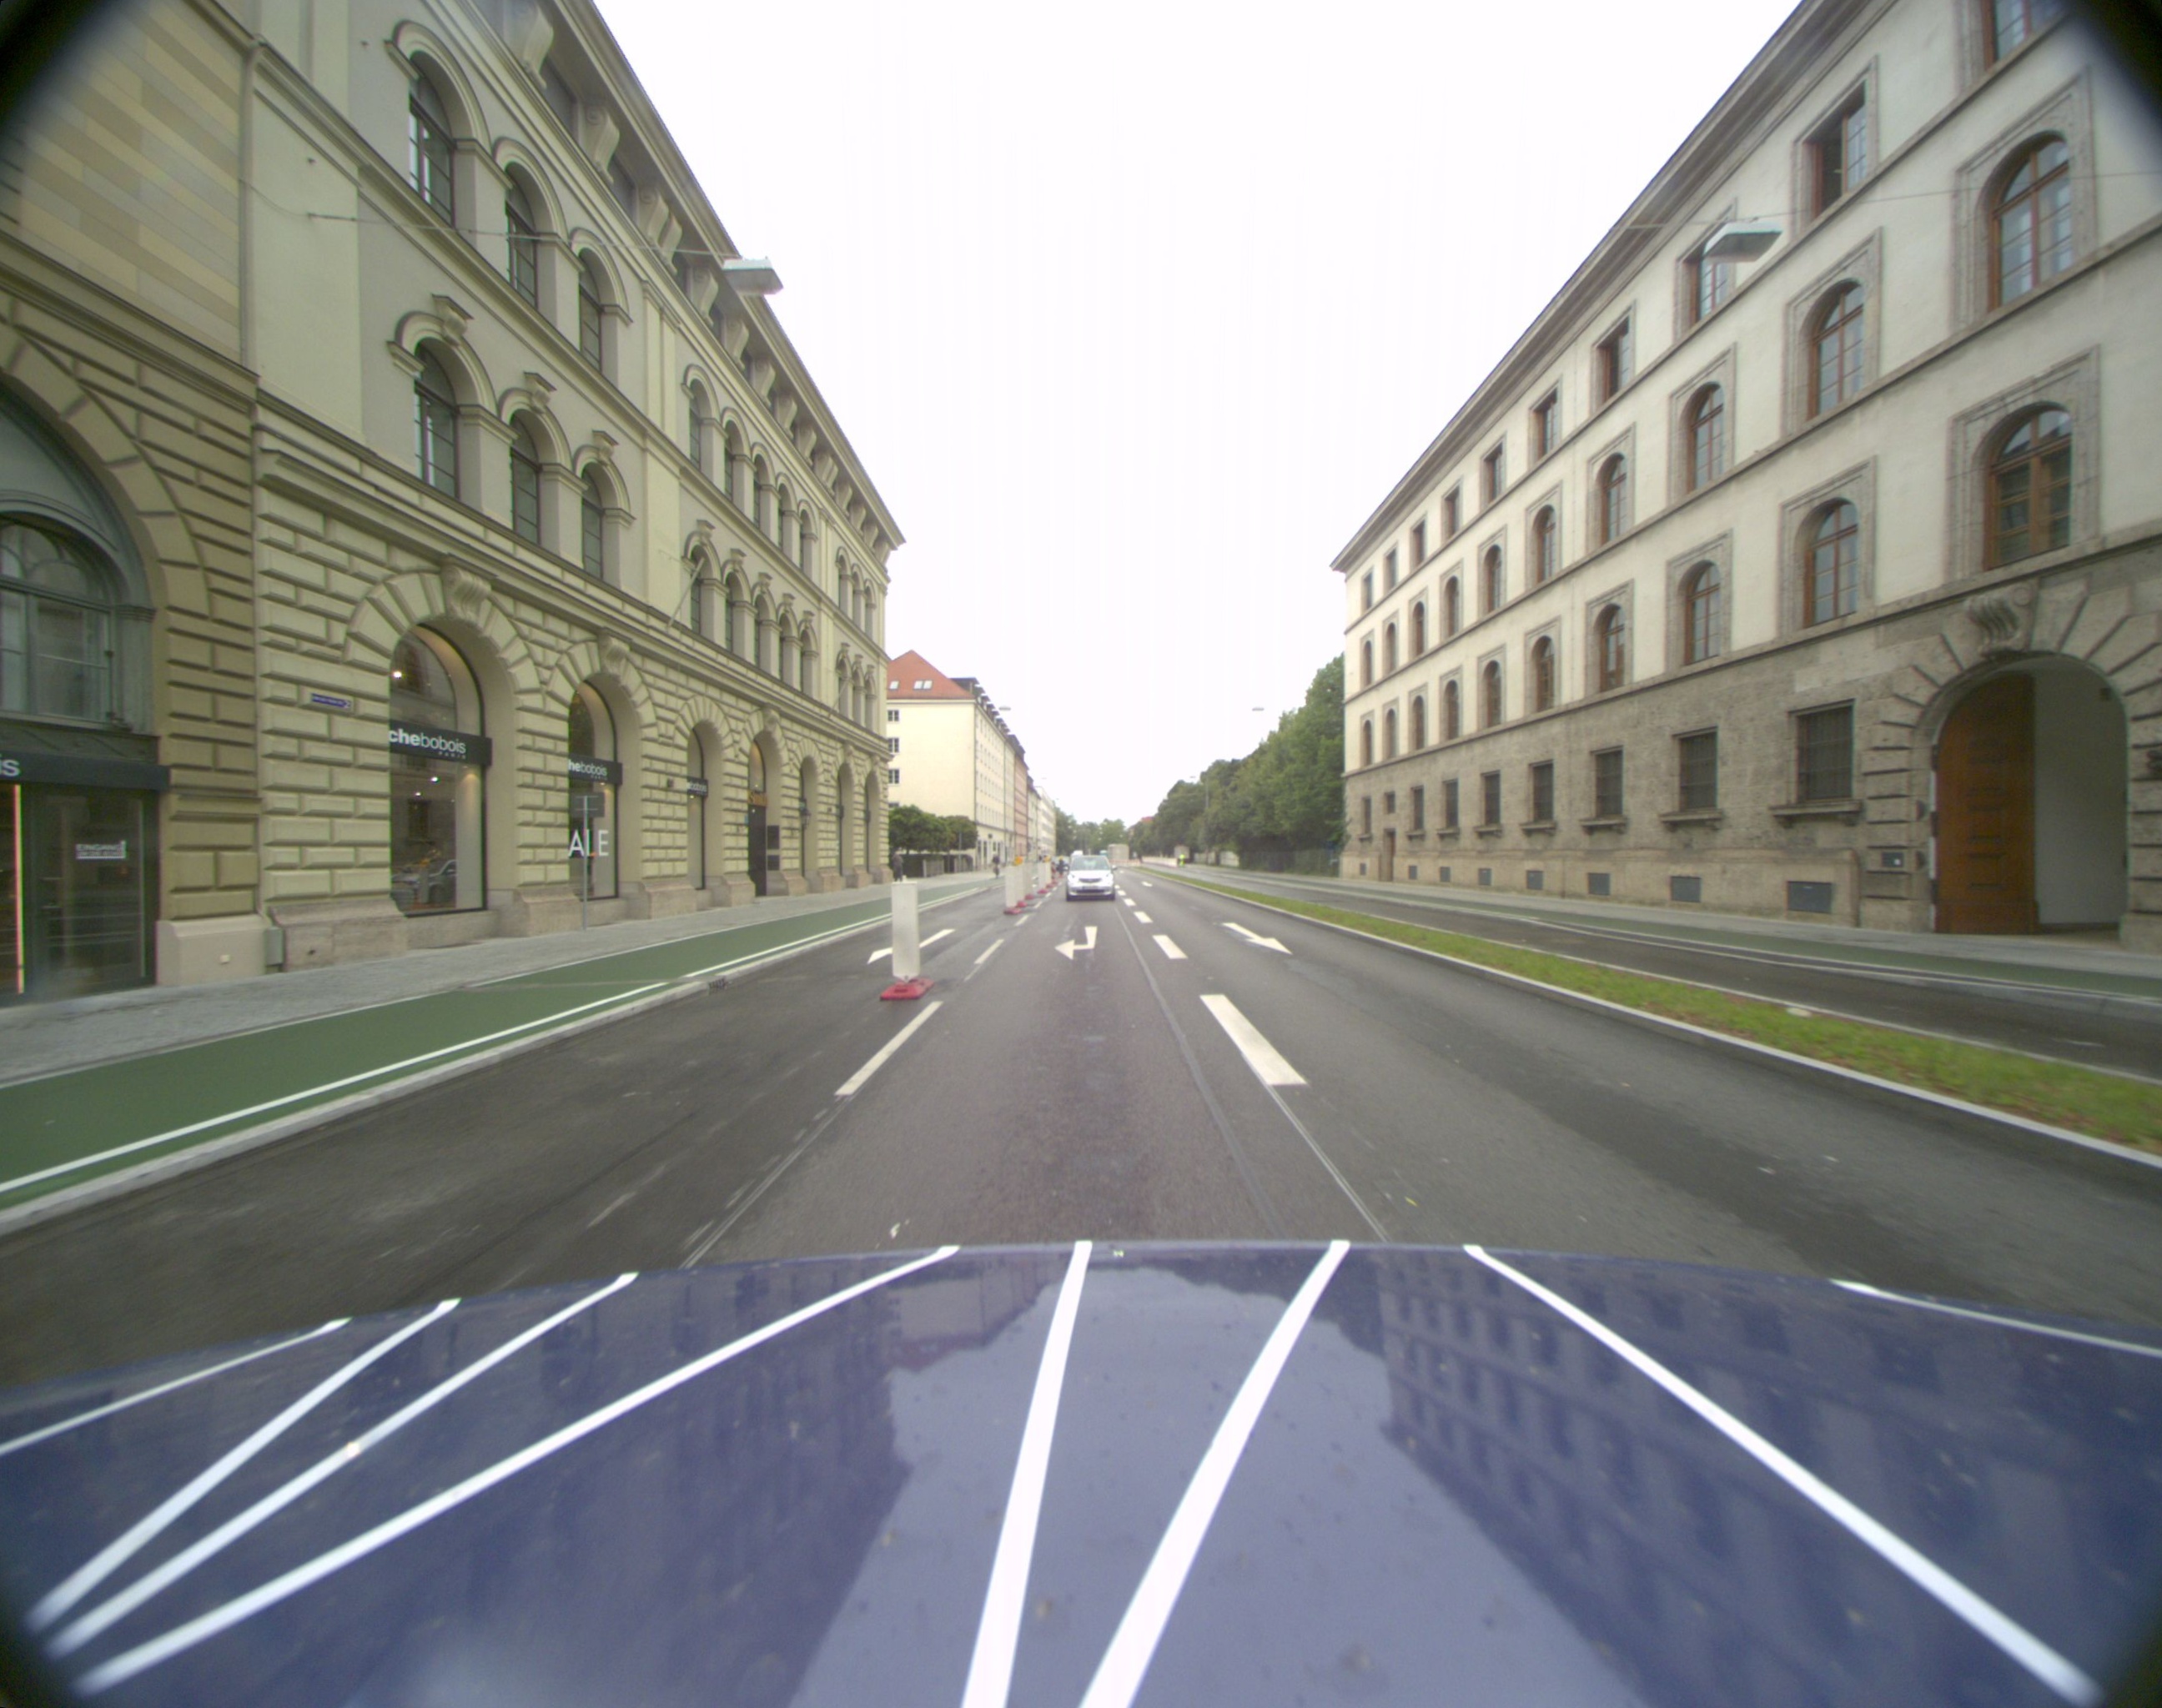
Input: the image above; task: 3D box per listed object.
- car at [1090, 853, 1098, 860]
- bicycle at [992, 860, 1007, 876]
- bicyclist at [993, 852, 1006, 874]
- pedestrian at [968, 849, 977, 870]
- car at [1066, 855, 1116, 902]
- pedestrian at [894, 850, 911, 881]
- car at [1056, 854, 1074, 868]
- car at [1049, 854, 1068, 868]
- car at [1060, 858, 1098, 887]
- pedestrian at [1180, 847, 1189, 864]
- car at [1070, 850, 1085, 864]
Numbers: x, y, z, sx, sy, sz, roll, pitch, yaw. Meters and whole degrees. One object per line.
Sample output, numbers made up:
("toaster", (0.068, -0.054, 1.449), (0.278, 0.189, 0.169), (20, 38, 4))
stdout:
("car", (2.904, 0.540, 168.900), (1.739, 1.425, 4.000), (-1, 0, 1))
("bicycle", (-5.732, 0.989, 53.665), (0.751, 1.026, 2.531), (-1, 0, 1))
("bicyclist", (-5.741, 0.642, 53.547), (0.724, 1.543, 0.858), (-1, 1, 0))
("pedestrian", (-9.399, 0.479, 65.727), (0.655, 1.863, 0.826), (1, 1, 1))
("car", (0.366, 0.824, 27.219), (1.633, 1.494, 4.000), (-1, 0, 1))
("pedestrian", (-10.000, 0.619, 42.472), (0.635, 1.694, 1.083), (0, 1, -30))
("car", (-1.724, 0.711, 82.948), (1.739, 1.425, 4.000), (-1, 0, 1))
("car", (-2.287, 0.691, 77.618), (1.739, 1.313, 4.000), (-1, 0, 1))
("car", (-0.092, 0.978, 42.083), (1.922, 1.433, 4.306), (-2, 0, 1))
("pedestrian", (12.915, 0.176, 94.956), (0.869, 2.002, 0.756), (-2, 1, -38))
("car", (-0.490, 0.432, 107.893), (1.998, 2.002, 4.000), (0, 0, 1))
